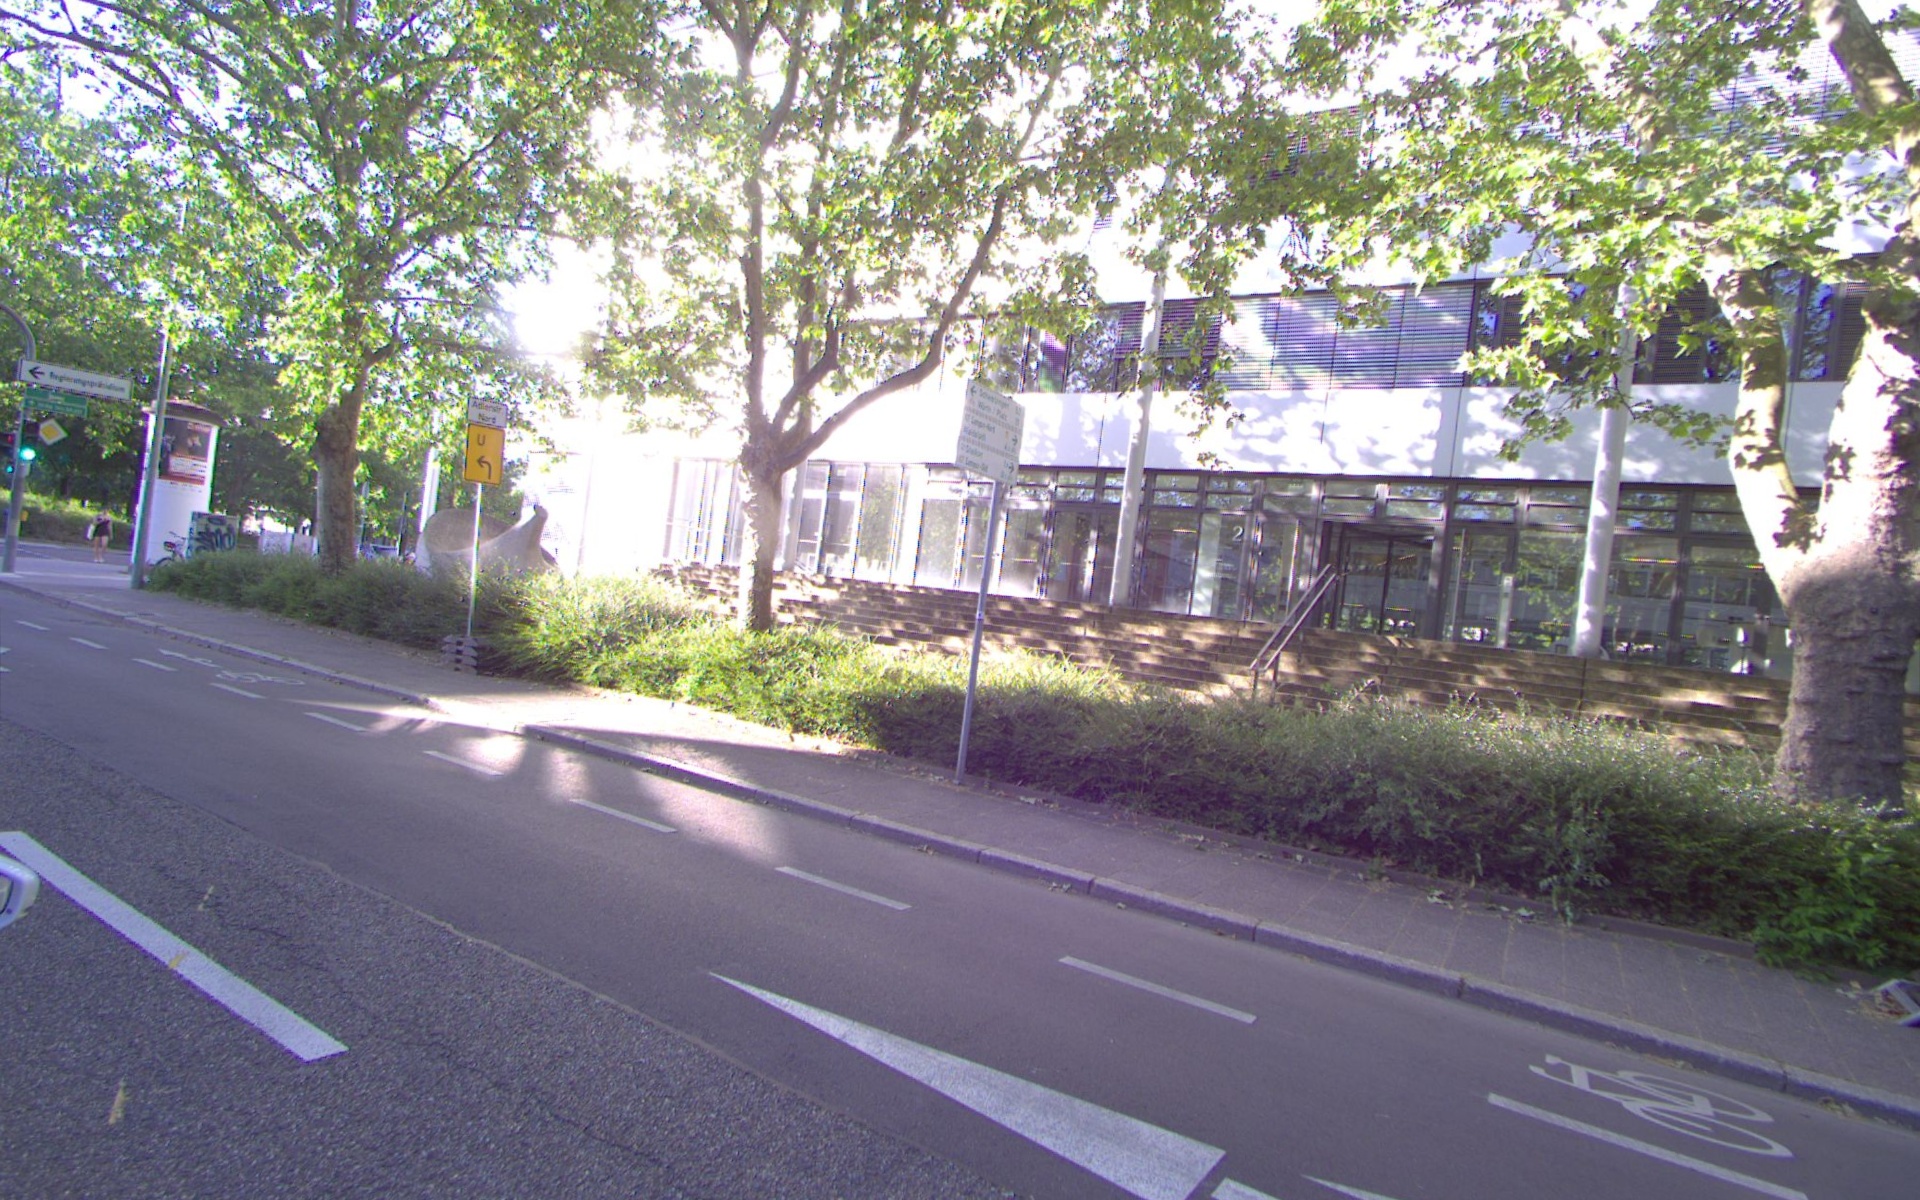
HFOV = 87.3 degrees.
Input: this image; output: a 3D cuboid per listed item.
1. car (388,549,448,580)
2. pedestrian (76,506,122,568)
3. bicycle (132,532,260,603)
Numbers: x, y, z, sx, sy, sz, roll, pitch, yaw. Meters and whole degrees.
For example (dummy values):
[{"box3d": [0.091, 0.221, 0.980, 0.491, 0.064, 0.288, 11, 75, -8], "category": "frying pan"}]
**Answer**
[{"box3d": [-35.567, -2.334, 65.967, 3.732, 1.500, 1.633, 6, -2, 31], "category": "car"}, {"box3d": [-24.858, -1.827, 29.058, 0.796, 1.649, 0.896, 8, -1, -45], "category": "pedestrian"}, {"box3d": [-15.939, -0.656, 21.053, 0.519, 1.203, 1.980, 7, -2, 30], "category": "bicycle"}]
